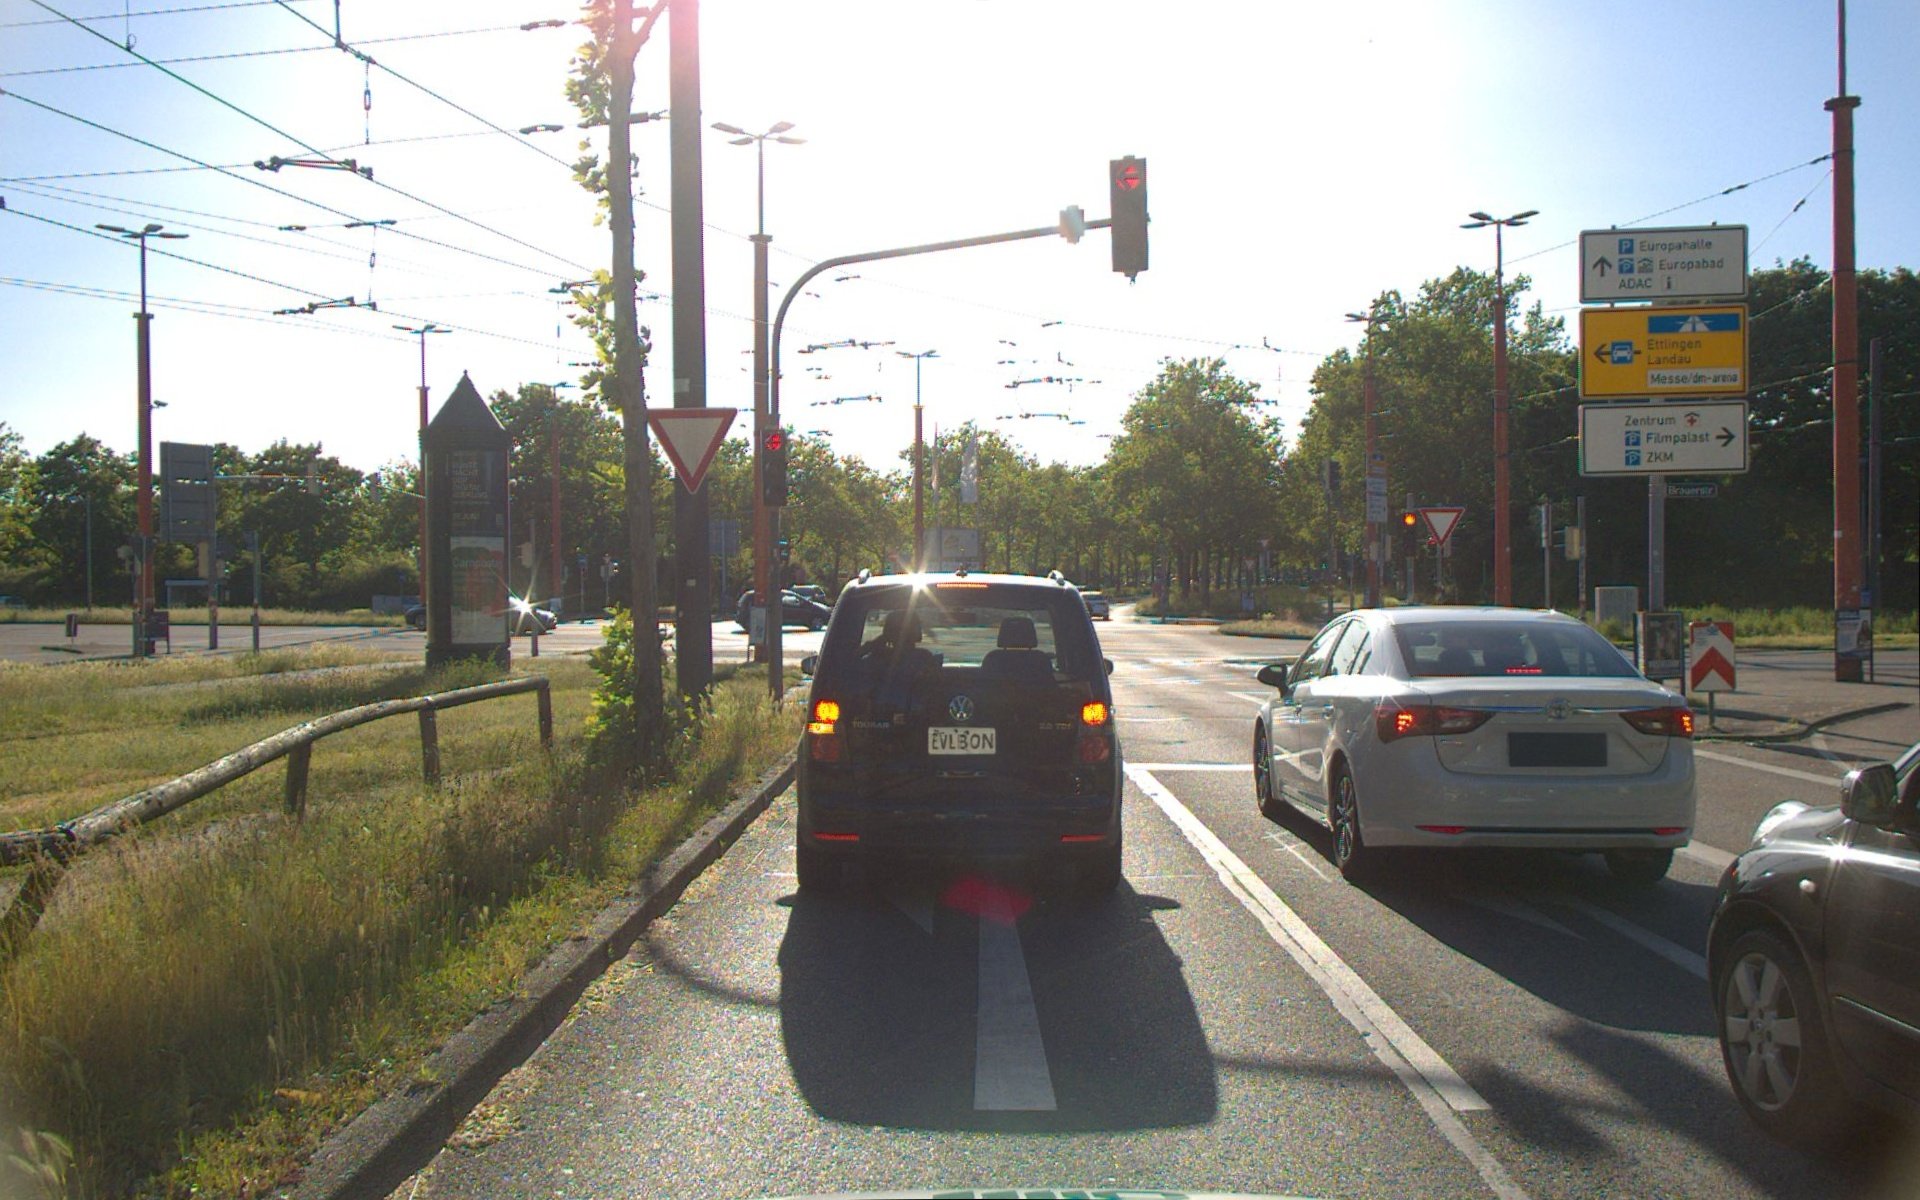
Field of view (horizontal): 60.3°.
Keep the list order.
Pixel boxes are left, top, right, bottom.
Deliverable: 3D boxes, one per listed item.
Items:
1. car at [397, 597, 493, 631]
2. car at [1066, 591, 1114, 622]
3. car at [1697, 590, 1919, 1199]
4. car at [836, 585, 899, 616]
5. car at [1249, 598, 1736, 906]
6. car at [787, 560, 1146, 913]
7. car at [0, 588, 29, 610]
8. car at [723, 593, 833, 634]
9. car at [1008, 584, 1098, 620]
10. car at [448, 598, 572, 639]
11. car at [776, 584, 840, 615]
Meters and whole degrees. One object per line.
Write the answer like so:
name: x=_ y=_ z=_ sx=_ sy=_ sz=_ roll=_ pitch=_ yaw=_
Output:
car: x=-20.933 y=0.567 z=67.233 sx=3.734 sy=1.333 sz=1.738 roll=0 pitch=0 yaw=32
car: x=6.584 y=0.315 z=84.143 sx=1.870 sy=1.489 sz=4.220 roll=0 pitch=0 yaw=-3
car: x=3.126 y=0.740 z=3.503 sx=1.525 sy=1.532 sz=3.515 roll=0 pitch=0 yaw=-1
car: x=-5.078 y=0.021 z=91.519 sx=1.951 sy=1.714 sz=4.831 roll=0 pitch=0 yaw=17
car: x=2.947 y=0.738 z=10.103 sx=1.679 sy=1.480 sz=4.144 roll=0 pitch=0 yaw=0
car: x=0.006 y=0.641 z=9.858 sx=1.702 sy=1.670 sz=3.999 roll=0 pitch=0 yaw=-1
car: x=-61.167 y=-0.058 z=105.202 sx=3.729 sy=1.333 sz=1.661 roll=0 pitch=0 yaw=28
car: x=-6.862 y=0.493 z=62.247 sx=3.972 sy=1.489 sz=1.908 roll=0 pitch=0 yaw=-12
car: x=4.010 y=0.079 z=70.957 sx=1.875 sy=1.489 sz=4.359 roll=0 pitch=0 yaw=35
car: x=-16.874 y=0.681 z=62.153 sx=4.141 sy=1.489 sz=1.914 roll=0 pitch=0 yaw=-2
car: x=-8.537 y=-0.046 z=93.164 sx=1.951 sy=1.714 sz=4.831 roll=0 pitch=0 yaw=17
